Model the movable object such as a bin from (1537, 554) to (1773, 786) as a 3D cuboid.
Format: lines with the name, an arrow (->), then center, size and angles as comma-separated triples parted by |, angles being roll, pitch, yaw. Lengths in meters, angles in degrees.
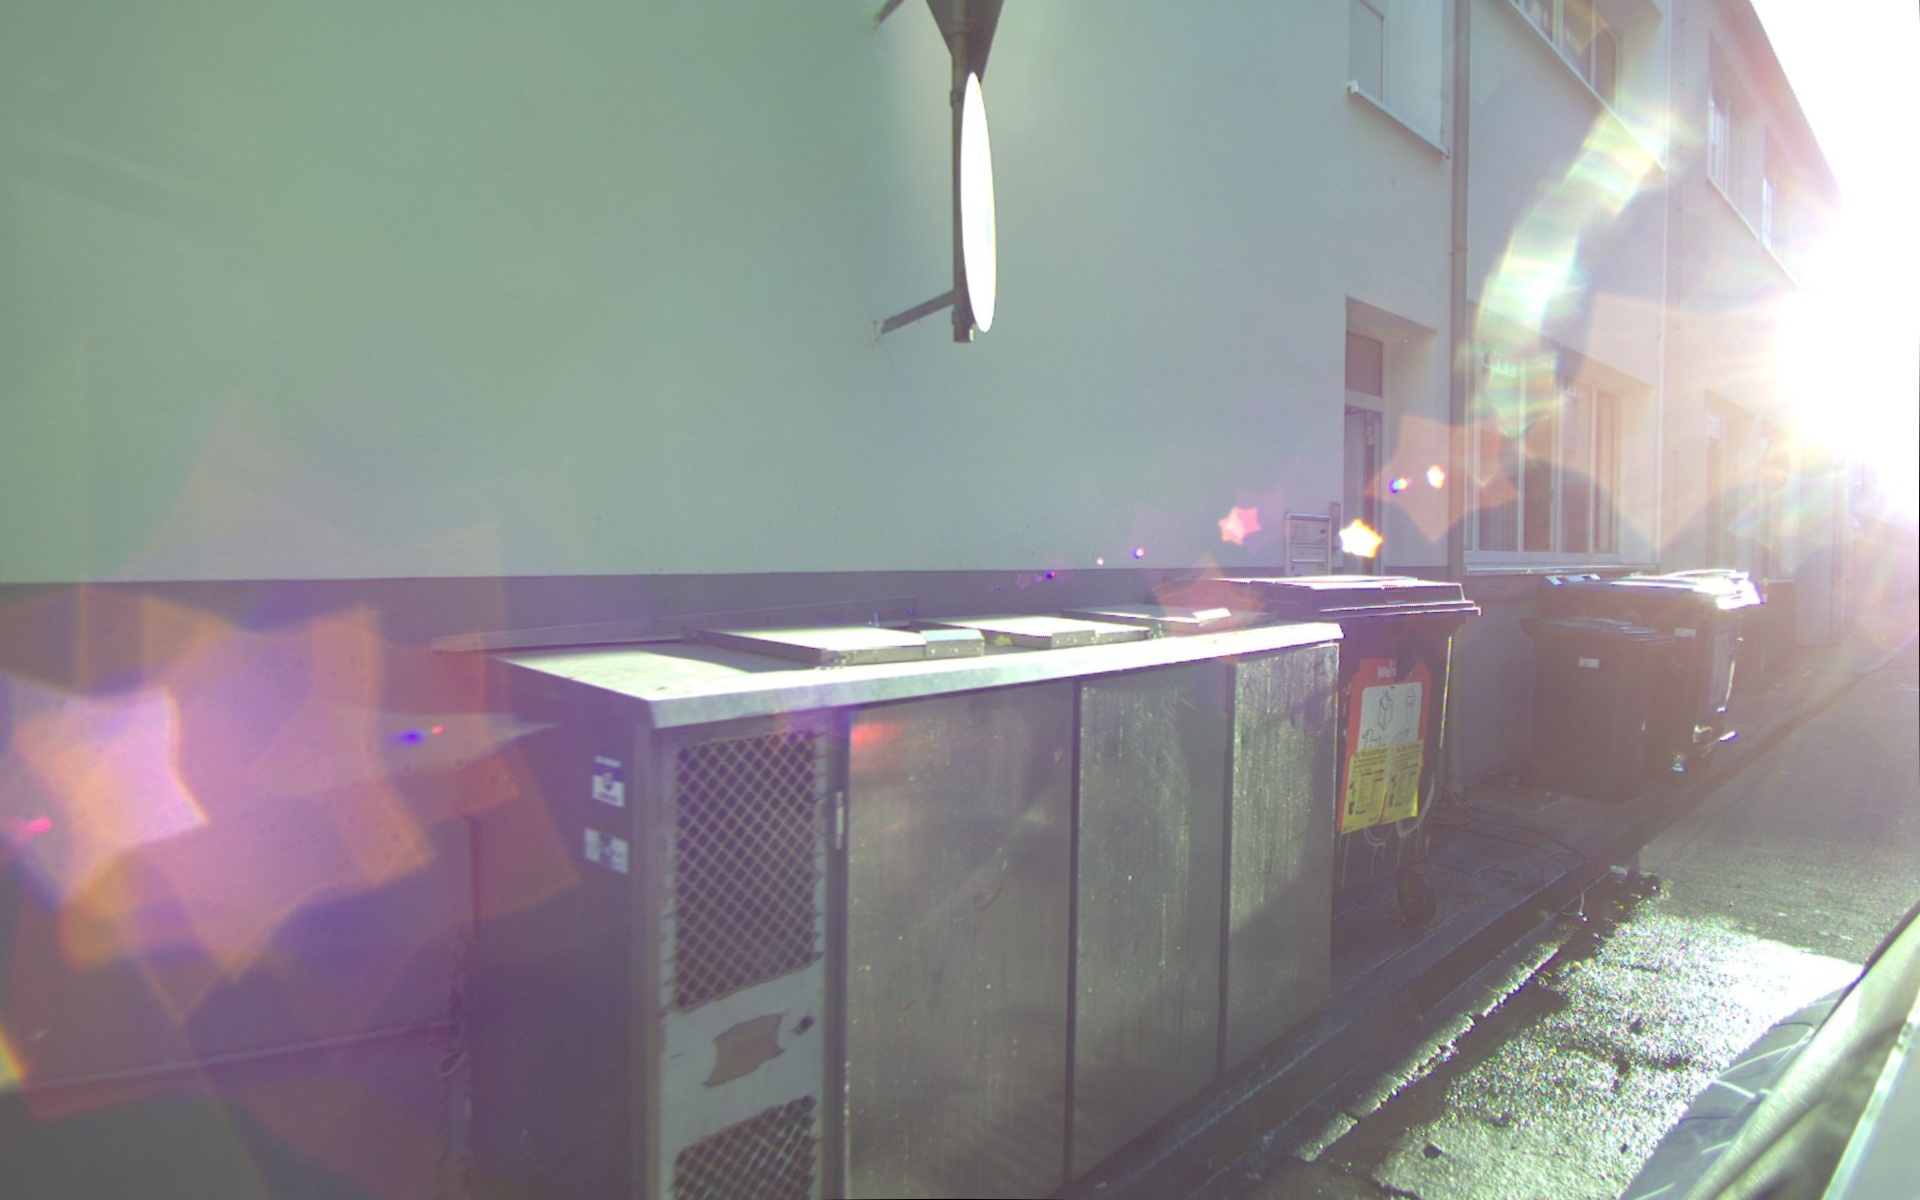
movable object such as a bin -> 4.812, 0.395, 7.000 | 1.065, 1.383, 1.321 | 5, 5, 45

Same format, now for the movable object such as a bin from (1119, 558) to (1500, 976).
movable object such as a bin -> 1.384, 0.515, 3.975 | 1.267, 1.320, 0.838 | -1, 4, -40

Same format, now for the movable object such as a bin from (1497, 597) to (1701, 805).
movable object such as a bin -> 3.908, 0.564, 6.203 | 0.726, 1.088, 0.870 | -2, 5, -44

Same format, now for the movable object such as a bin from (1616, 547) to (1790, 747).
movable object such as a bin -> 5.832, 0.298, 7.929 | 0.936, 1.383, 1.323 | 4, 5, 41
